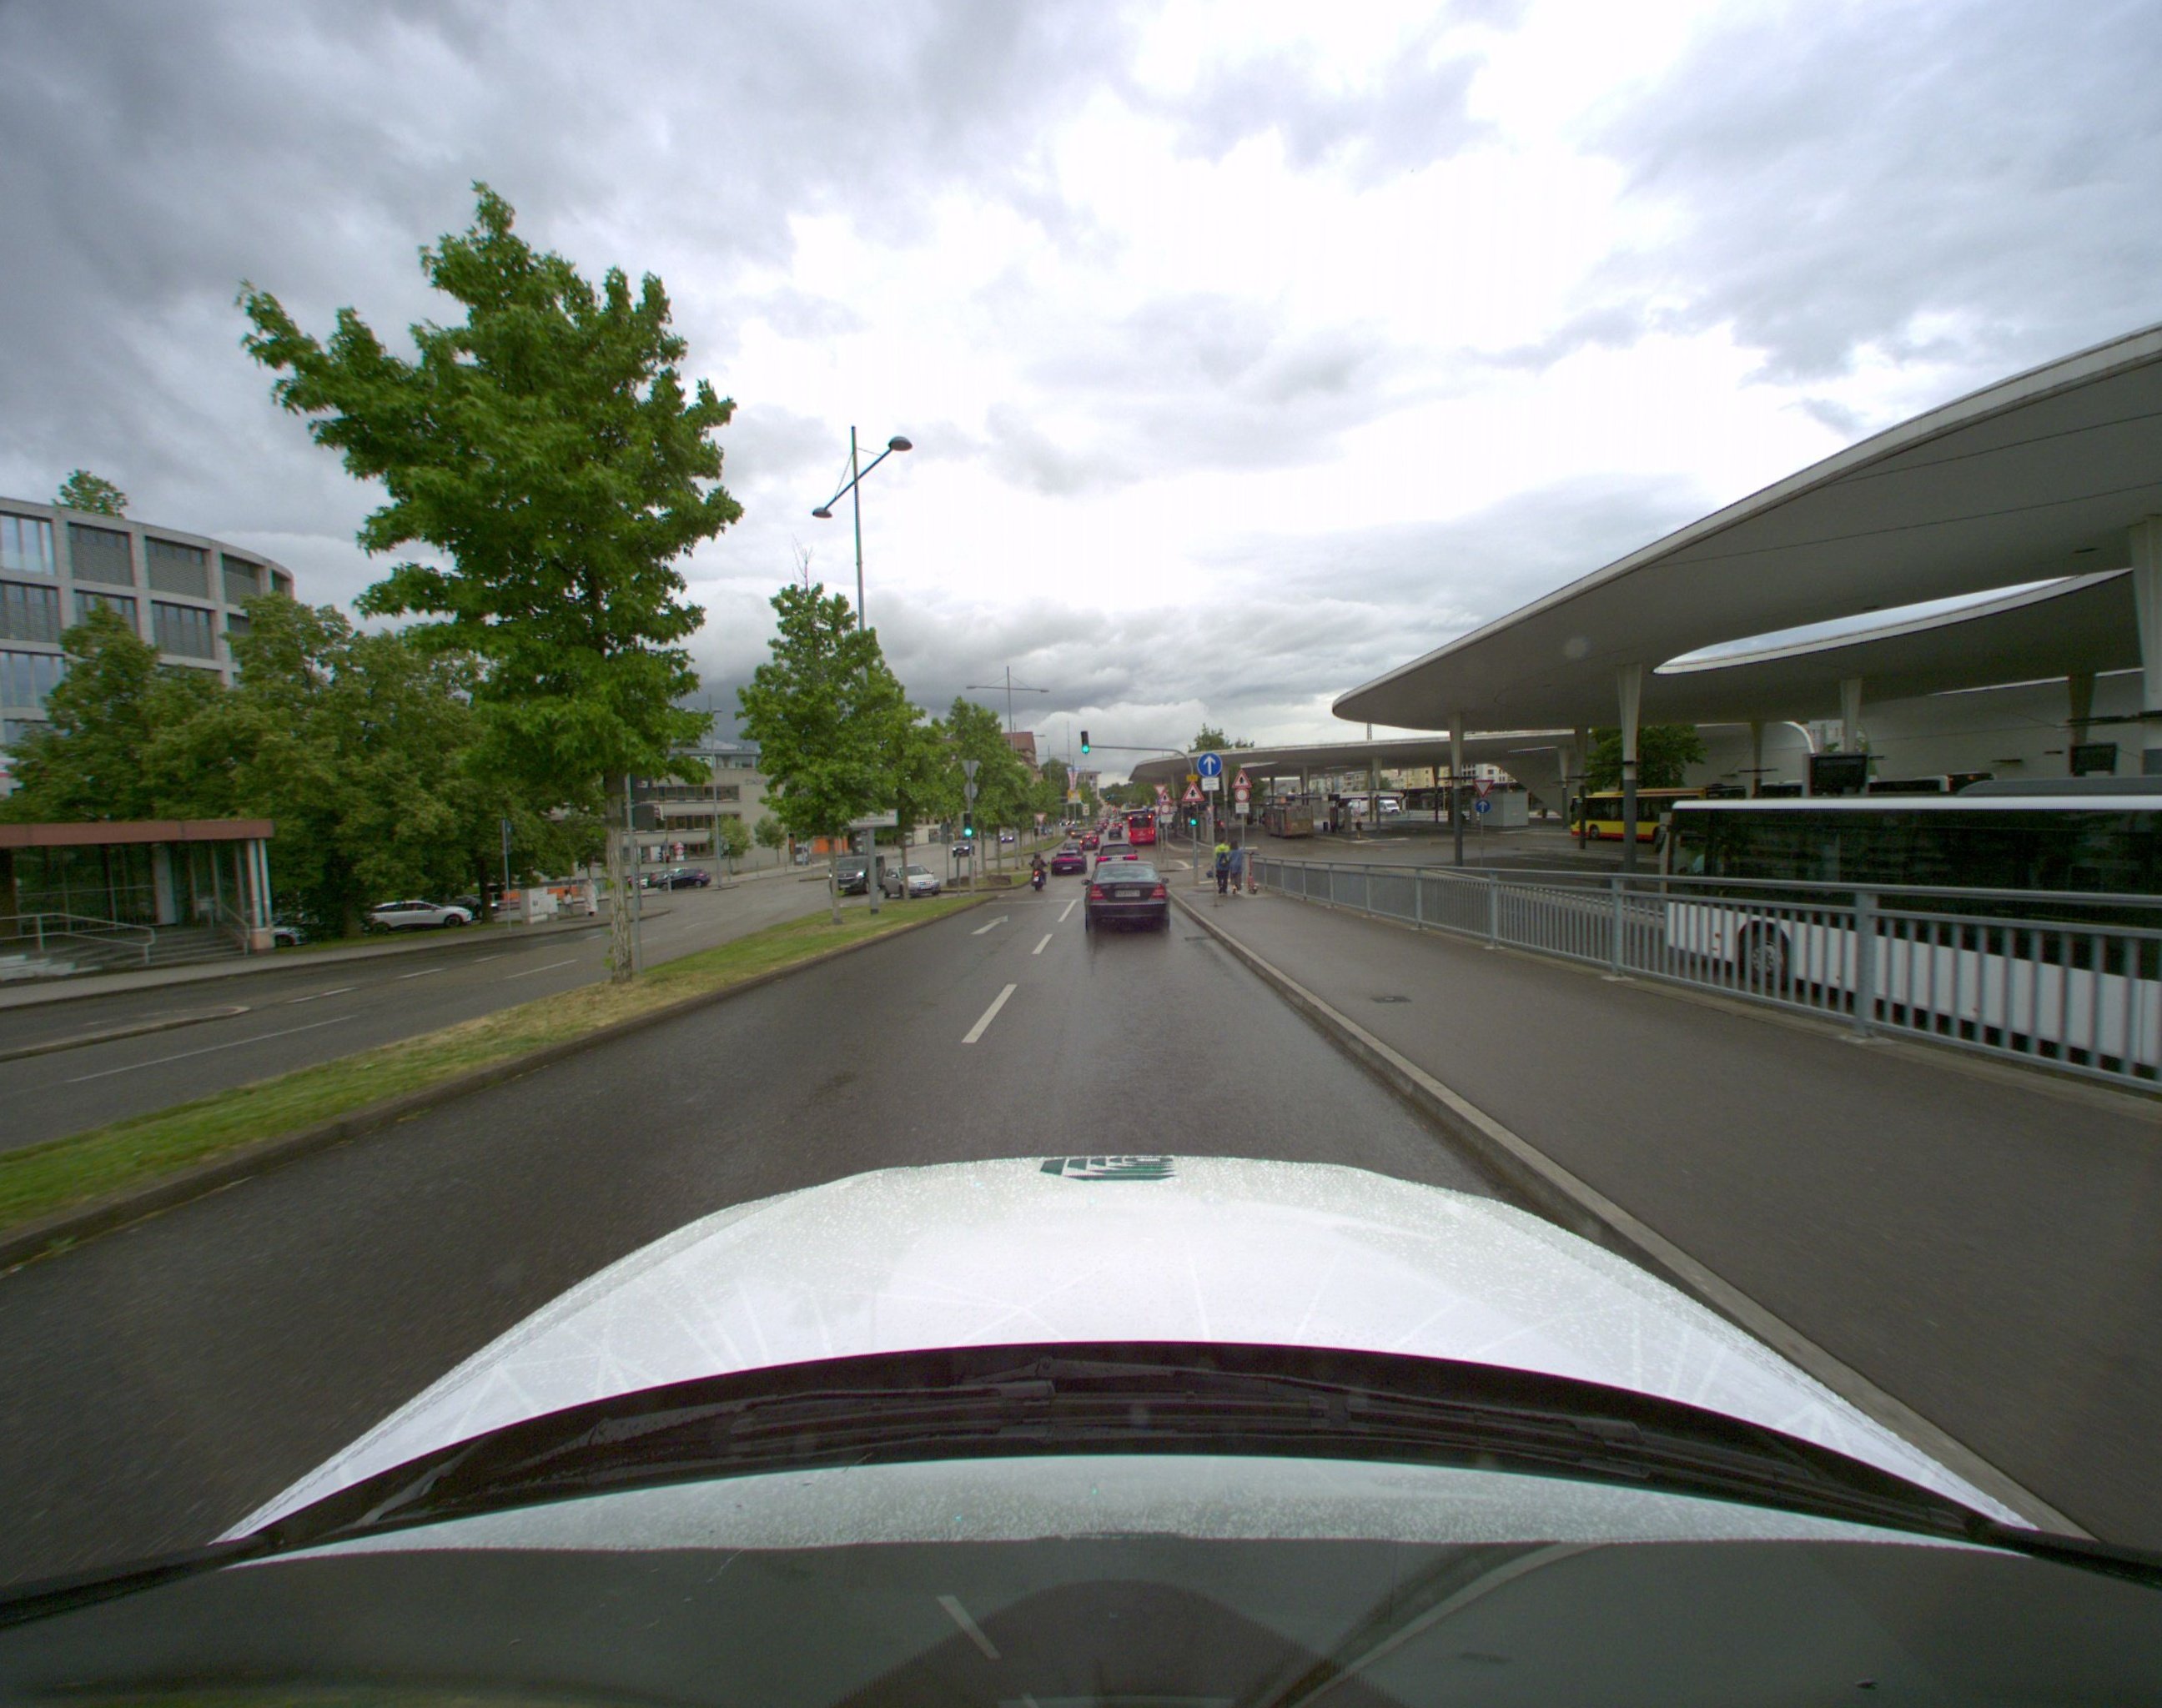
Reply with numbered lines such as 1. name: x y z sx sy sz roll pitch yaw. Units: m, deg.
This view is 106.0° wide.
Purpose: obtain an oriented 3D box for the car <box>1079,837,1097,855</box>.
1. car: 0.739 -0.845 83.030 1.569 1.504 3.876 -5 3 3

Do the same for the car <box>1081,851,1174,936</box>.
1. car: 0.955 0.737 17.502 1.691 1.462 4.306 -2 1 2

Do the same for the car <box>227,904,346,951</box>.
1. car: -37.506 3.427 38.543 1.706 1.567 3.862 -1 3 45

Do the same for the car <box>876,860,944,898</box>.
1. car: -7.627 1.112 36.018 1.643 1.448 3.837 -6 1 -31

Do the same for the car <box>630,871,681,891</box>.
1. car: -40.677 2.543 77.902 1.743 1.495 3.813 -2 4 41

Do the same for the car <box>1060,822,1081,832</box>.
1. car: -1.705 -4.437 133.580 1.738 1.560 3.732 -3 1 -29

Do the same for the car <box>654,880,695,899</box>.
1. car: -32.718 2.826 65.527 3.536 1.350 1.493 -2 2 36

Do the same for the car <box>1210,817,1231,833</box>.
1. car: 14.764 -3.083 86.376 1.641 1.452 3.239 -3 3 1

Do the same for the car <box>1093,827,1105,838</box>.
1. car: 2.875 -3.457 129.049 1.858 1.684 4.002 0 0 2

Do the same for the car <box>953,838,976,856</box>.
1. car: -13.050 -0.788 91.466 1.903 1.661 4.857 -3 4 -1

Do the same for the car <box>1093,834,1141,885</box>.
1. car: 1.700 0.182 38.239 1.949 1.875 4.878 -6 3 3

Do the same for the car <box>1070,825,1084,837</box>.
1. car: -0.585 -3.298 117.732 1.858 1.684 4.002 0 0 2

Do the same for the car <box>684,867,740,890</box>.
1. car: -30.904 2.060 68.291 3.648 1.438 1.831 -5 3 1

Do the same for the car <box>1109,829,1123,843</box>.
1. car: 4.543 -2.370 105.349 1.569 1.566 3.875 -6 3 3

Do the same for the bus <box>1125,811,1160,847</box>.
1. bus: 6.443 -2.786 86.212 3.272 3.290 10.891 -4 3 3

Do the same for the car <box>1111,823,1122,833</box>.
1. car: 6.105 -4.424 138.764 1.858 1.684 4.002 0 0 2

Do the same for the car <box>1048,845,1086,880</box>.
1. car: -0.767 0.437 48.013 1.809 1.570 4.408 -6 3 3

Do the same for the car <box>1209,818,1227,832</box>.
1. car: 17.668 -3.726 105.359 1.705 1.661 4.242 -3 3 2

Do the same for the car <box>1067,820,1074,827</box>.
1. car: -2.678 -7.934 210.561 1.569 1.566 3.433 -6 3 3

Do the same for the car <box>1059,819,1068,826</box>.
1. car: -4.448 -7.953 204.703 1.773 1.566 3.433 -6 3 3

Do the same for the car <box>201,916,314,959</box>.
1. car: -35.957 3.611 35.609 1.479 1.296 3.338 -1 3 43

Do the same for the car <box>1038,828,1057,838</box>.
1. car: -6.030 -3.742 146.500 1.654 1.804 3.600 1 -1 -35

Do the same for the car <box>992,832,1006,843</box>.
1. car: -14.464 -2.986 144.048 1.840 1.652 4.423 -3 3 2

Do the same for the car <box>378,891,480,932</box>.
1. car: -33.669 2.929 42.100 1.706 1.567 3.862 -1 3 45

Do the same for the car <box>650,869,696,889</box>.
1. car: -37.294 2.272 74.561 1.614 1.495 3.600 -3 3 18

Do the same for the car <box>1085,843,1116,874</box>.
1. car: 1.241 0.233 51.256 1.734 1.566 3.875 -6 3 3

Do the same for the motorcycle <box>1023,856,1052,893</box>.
1. motorcycle: -1.782 0.820 33.427 0.789 1.261 1.859 -5 3 6

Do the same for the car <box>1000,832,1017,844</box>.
1. car: -11.252 -2.504 126.471 1.839 1.504 4.925 -3 3 3

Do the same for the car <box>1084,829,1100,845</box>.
1. car: 1.264 -2.001 93.217 1.569 1.566 3.875 -6 3 3

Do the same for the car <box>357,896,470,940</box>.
1. car: -32.400 3.051 39.589 4.079 1.507 1.707 -6 3 -43

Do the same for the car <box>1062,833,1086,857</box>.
1. car: -0.551 -0.771 68.411 1.669 1.622 3.875 -6 3 3
